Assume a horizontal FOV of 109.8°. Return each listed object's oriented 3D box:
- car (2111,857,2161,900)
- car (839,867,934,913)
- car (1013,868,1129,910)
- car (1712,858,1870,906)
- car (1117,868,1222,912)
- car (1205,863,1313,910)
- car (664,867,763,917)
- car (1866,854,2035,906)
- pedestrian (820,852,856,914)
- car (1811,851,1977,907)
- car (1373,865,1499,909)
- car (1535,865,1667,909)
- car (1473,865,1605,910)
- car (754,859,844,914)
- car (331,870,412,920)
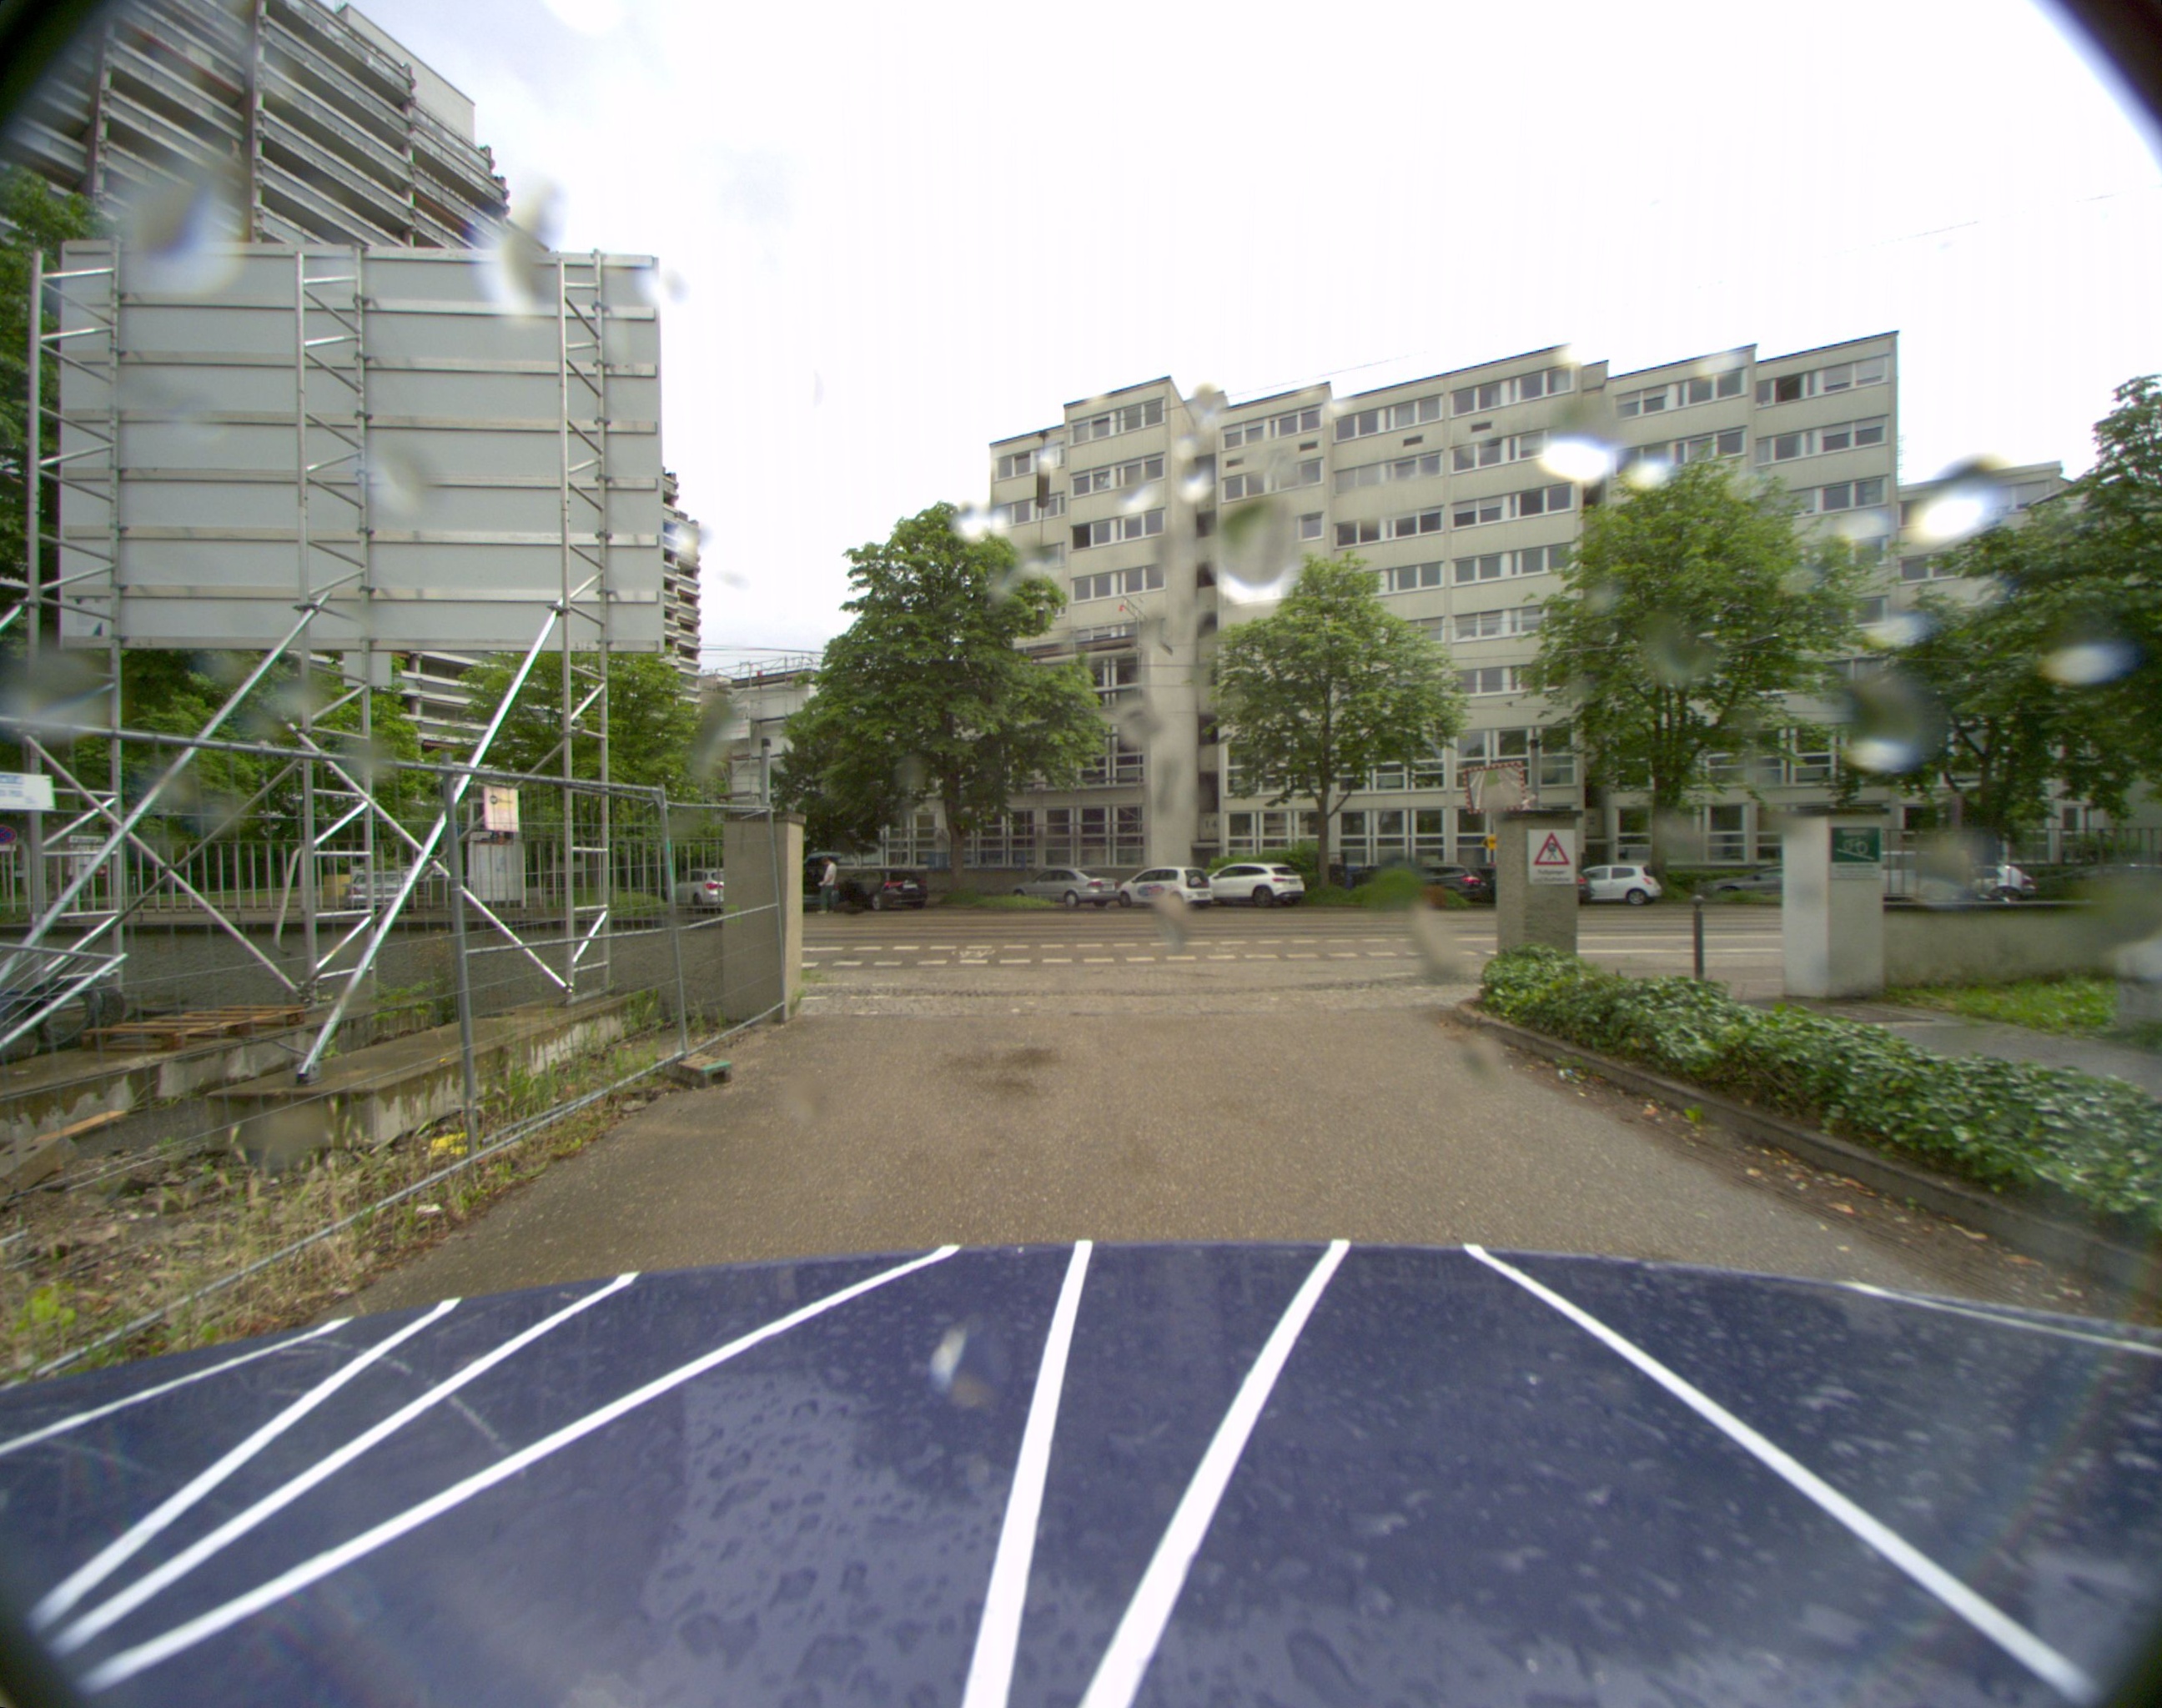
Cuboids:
[{"bbox_3d":[42.457,0.953,28.774,1.755,1.664,3.876,2,-1,-45],"label":"car"},{"bbox_3d":[-6.817,1.208,26.423,1.626,1.419,3.638,-1,0,-44],"label":"car"},{"bbox_3d":[-0.412,1.241,27.405,3.989,1.406,1.727,-1,-2,40],"label":"car"},{"bbox_3d":[26.252,0.992,28.306,4.073,1.640,1.794,0,-1,35],"label":"car"},{"bbox_3d":[3.103,1.241,26.962,3.380,1.436,1.658,-1,-2,45],"label":"car"},{"bbox_3d":[6.372,1.148,27.340,3.380,1.593,1.711,-1,-2,45],"label":"car"},{"bbox_3d":[-12.644,1.240,26.052,1.863,1.477,3.989,-3,1,-44],"label":"car"},{"bbox_3d":[32.456,0.940,28.553,1.794,1.795,4.073,2,-1,-45],"label":"car"},{"bbox_3d":[-7.993,0.953,25.004,0.859,2.002,0.931,0,0,1],"label":"pedestrian"},{"bbox_3d":[29.790,0.874,28.032,1.794,1.920,4.073,2,-1,-45],"label":"car"},{"bbox_3d":[12.940,1.160,27.818,1.794,1.497,3.769,2,-1,-45],"label":"car"},{"bbox_3d":[19.298,1.201,28.279,1.794,1.497,3.769,2,-1,-45],"label":"car"},{"bbox_3d":[16.473,1.173,27.436,1.794,1.497,3.769,2,-1,-45],"label":"car"},{"bbox_3d":[-9.861,1.070,26.478,1.626,1.736,3.638,-1,0,-44],"label":"car"},{"bbox_3d":[-24.383,1.347,26.127,1.863,1.477,3.989,-3,1,-44],"label":"car"}]
